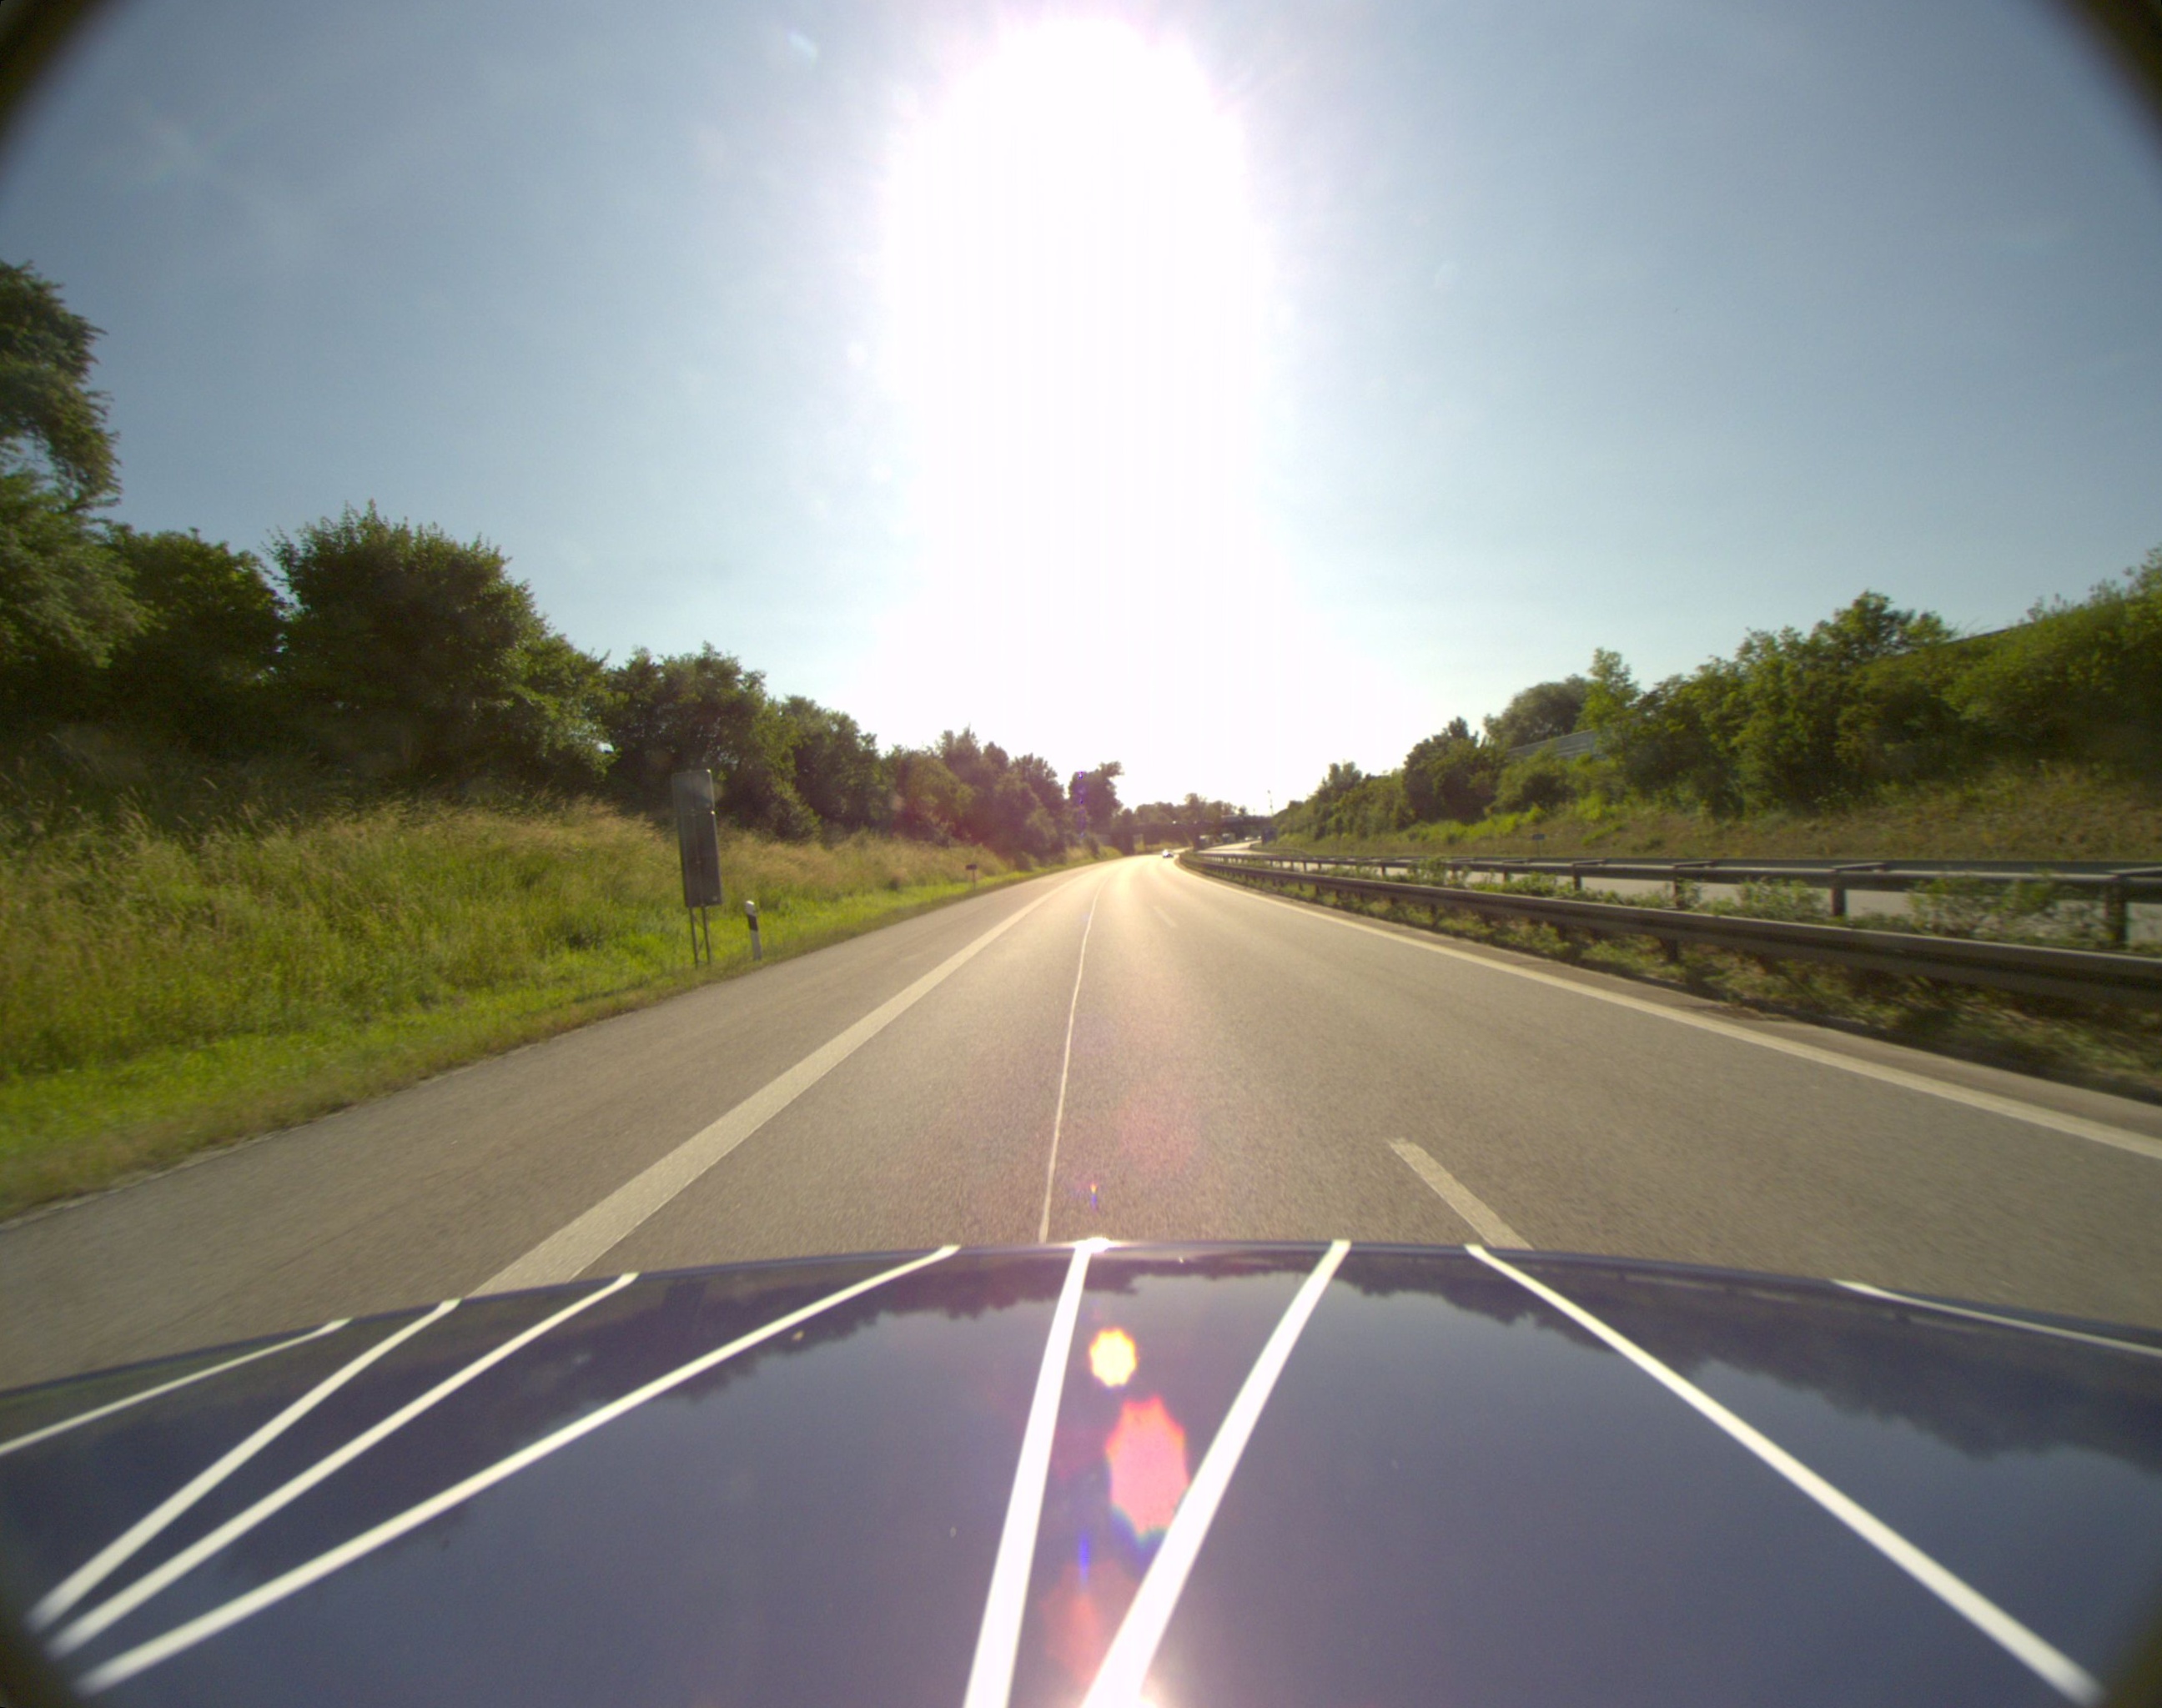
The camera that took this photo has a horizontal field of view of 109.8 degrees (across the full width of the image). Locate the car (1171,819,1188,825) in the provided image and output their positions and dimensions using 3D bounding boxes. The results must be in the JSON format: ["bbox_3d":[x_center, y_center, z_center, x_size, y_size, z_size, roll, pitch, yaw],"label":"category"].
[{"bbox_3d":[23.364,-7.579,179.699,3.840,1.298,1.825,-2,2,11],"label":"car"}]

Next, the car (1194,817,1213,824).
[{"bbox_3d":[28.950,-7.904,179.372,4.435,1.547,1.907,-2,2,12],"label":"car"}]

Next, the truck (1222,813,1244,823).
[{"bbox_3d":[35.545,-8.412,177.985,4.864,2.155,2.001,-2,2,11],"label":"truck"}]

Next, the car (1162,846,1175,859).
[{"bbox_3d":[14.687,-0.256,127.716,1.997,2.002,4.601,-4,0,8],"label":"car"}]
